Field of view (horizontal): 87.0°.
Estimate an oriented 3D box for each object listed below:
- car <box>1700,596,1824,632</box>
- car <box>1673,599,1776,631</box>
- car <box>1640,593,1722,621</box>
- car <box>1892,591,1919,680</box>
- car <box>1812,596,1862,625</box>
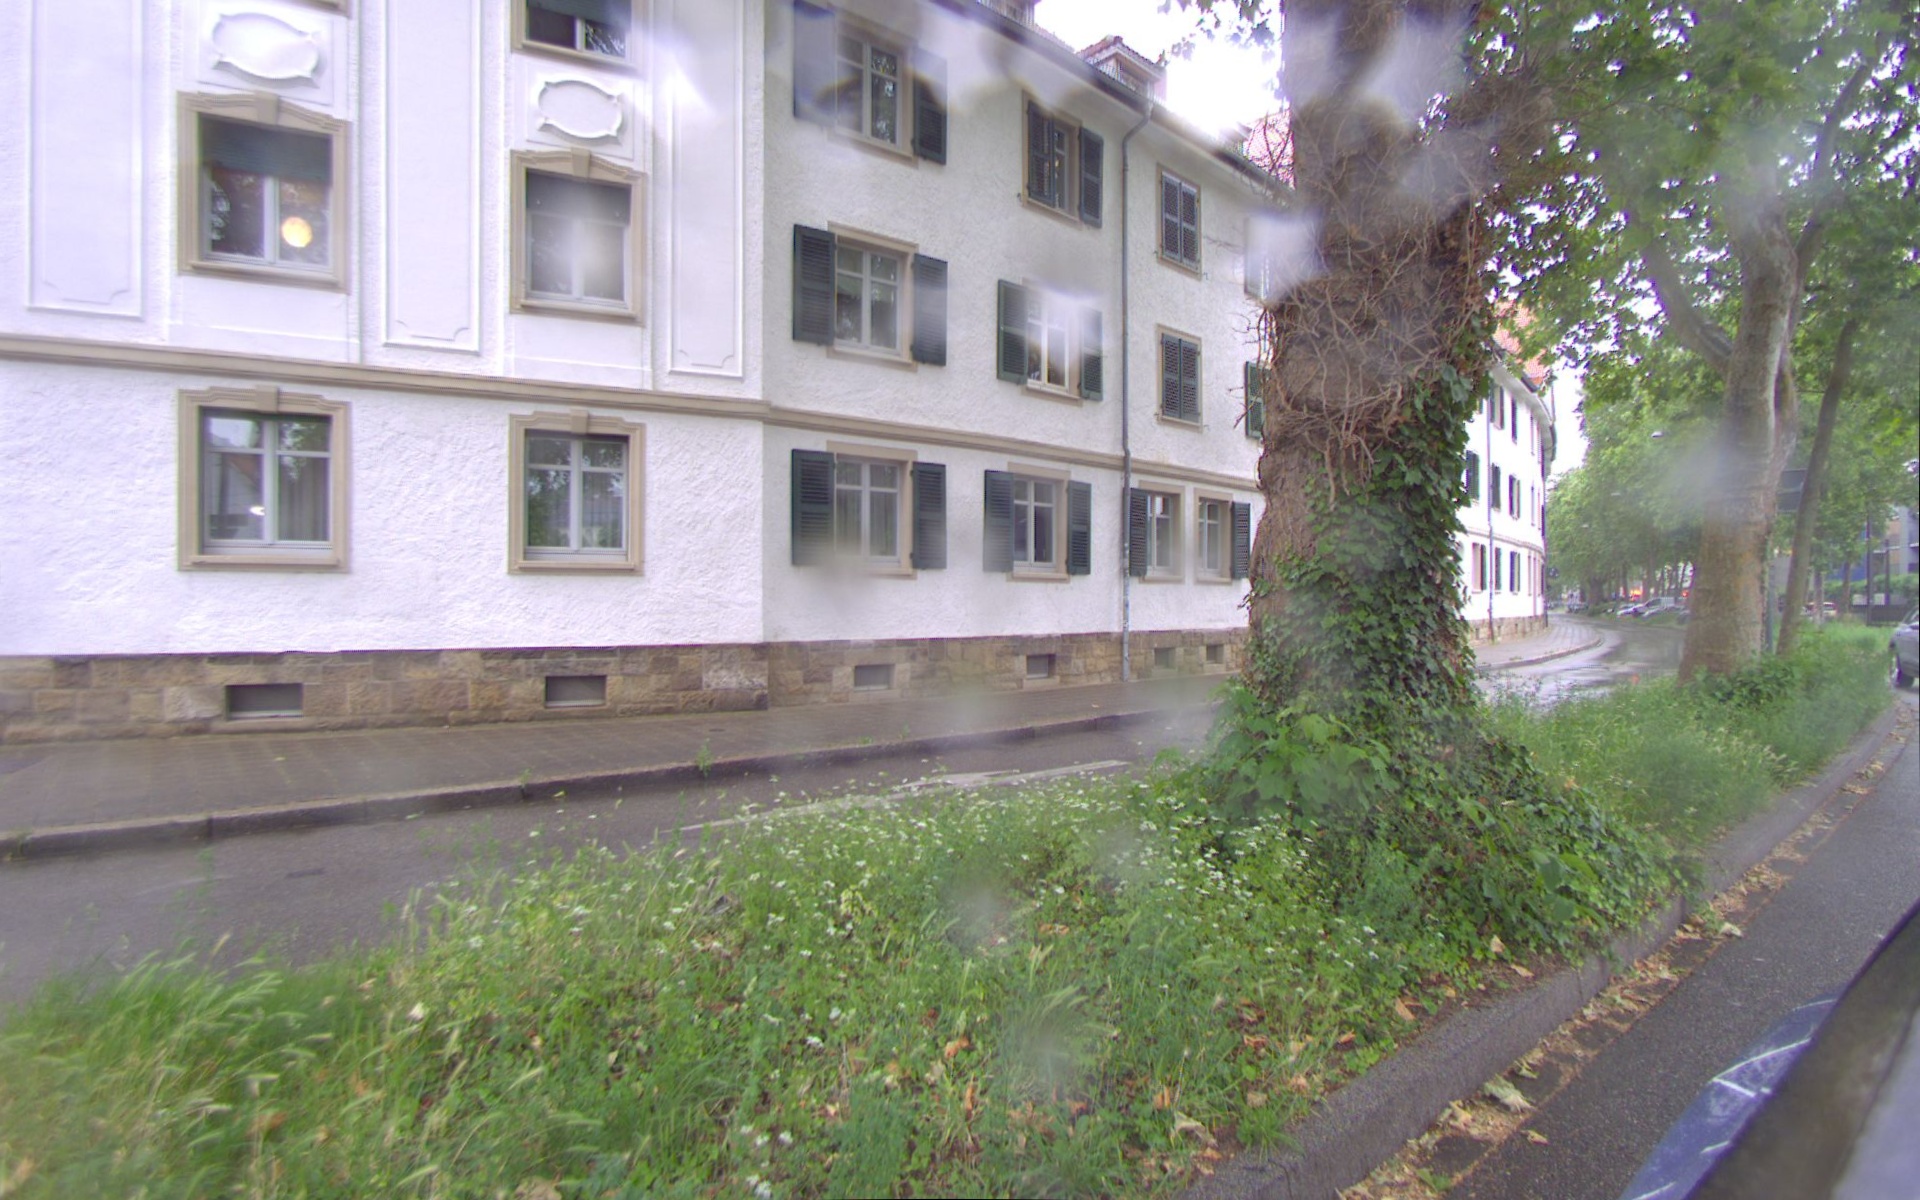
[{"bbox_3d":[38.266,0.631,48.385,1.892,1.560,4.236,1,1,-30],"label":"car"},{"bbox_3d":[43.583,0.812,57.773,1.715,1.632,4.335,1,1,-35],"label":"car"},{"bbox_3d":[56.675,0.518,79.626,1.960,2.039,4.899,1,1,-30],"label":"car"},{"bbox_3d":[18.145,0.660,17.718,1.837,1.616,4.170,0,0,31],"label":"car"},{"bbox_3d":[57.763,0.657,66.718,1.677,1.745,3.656,2,1,28],"label":"car"}]
